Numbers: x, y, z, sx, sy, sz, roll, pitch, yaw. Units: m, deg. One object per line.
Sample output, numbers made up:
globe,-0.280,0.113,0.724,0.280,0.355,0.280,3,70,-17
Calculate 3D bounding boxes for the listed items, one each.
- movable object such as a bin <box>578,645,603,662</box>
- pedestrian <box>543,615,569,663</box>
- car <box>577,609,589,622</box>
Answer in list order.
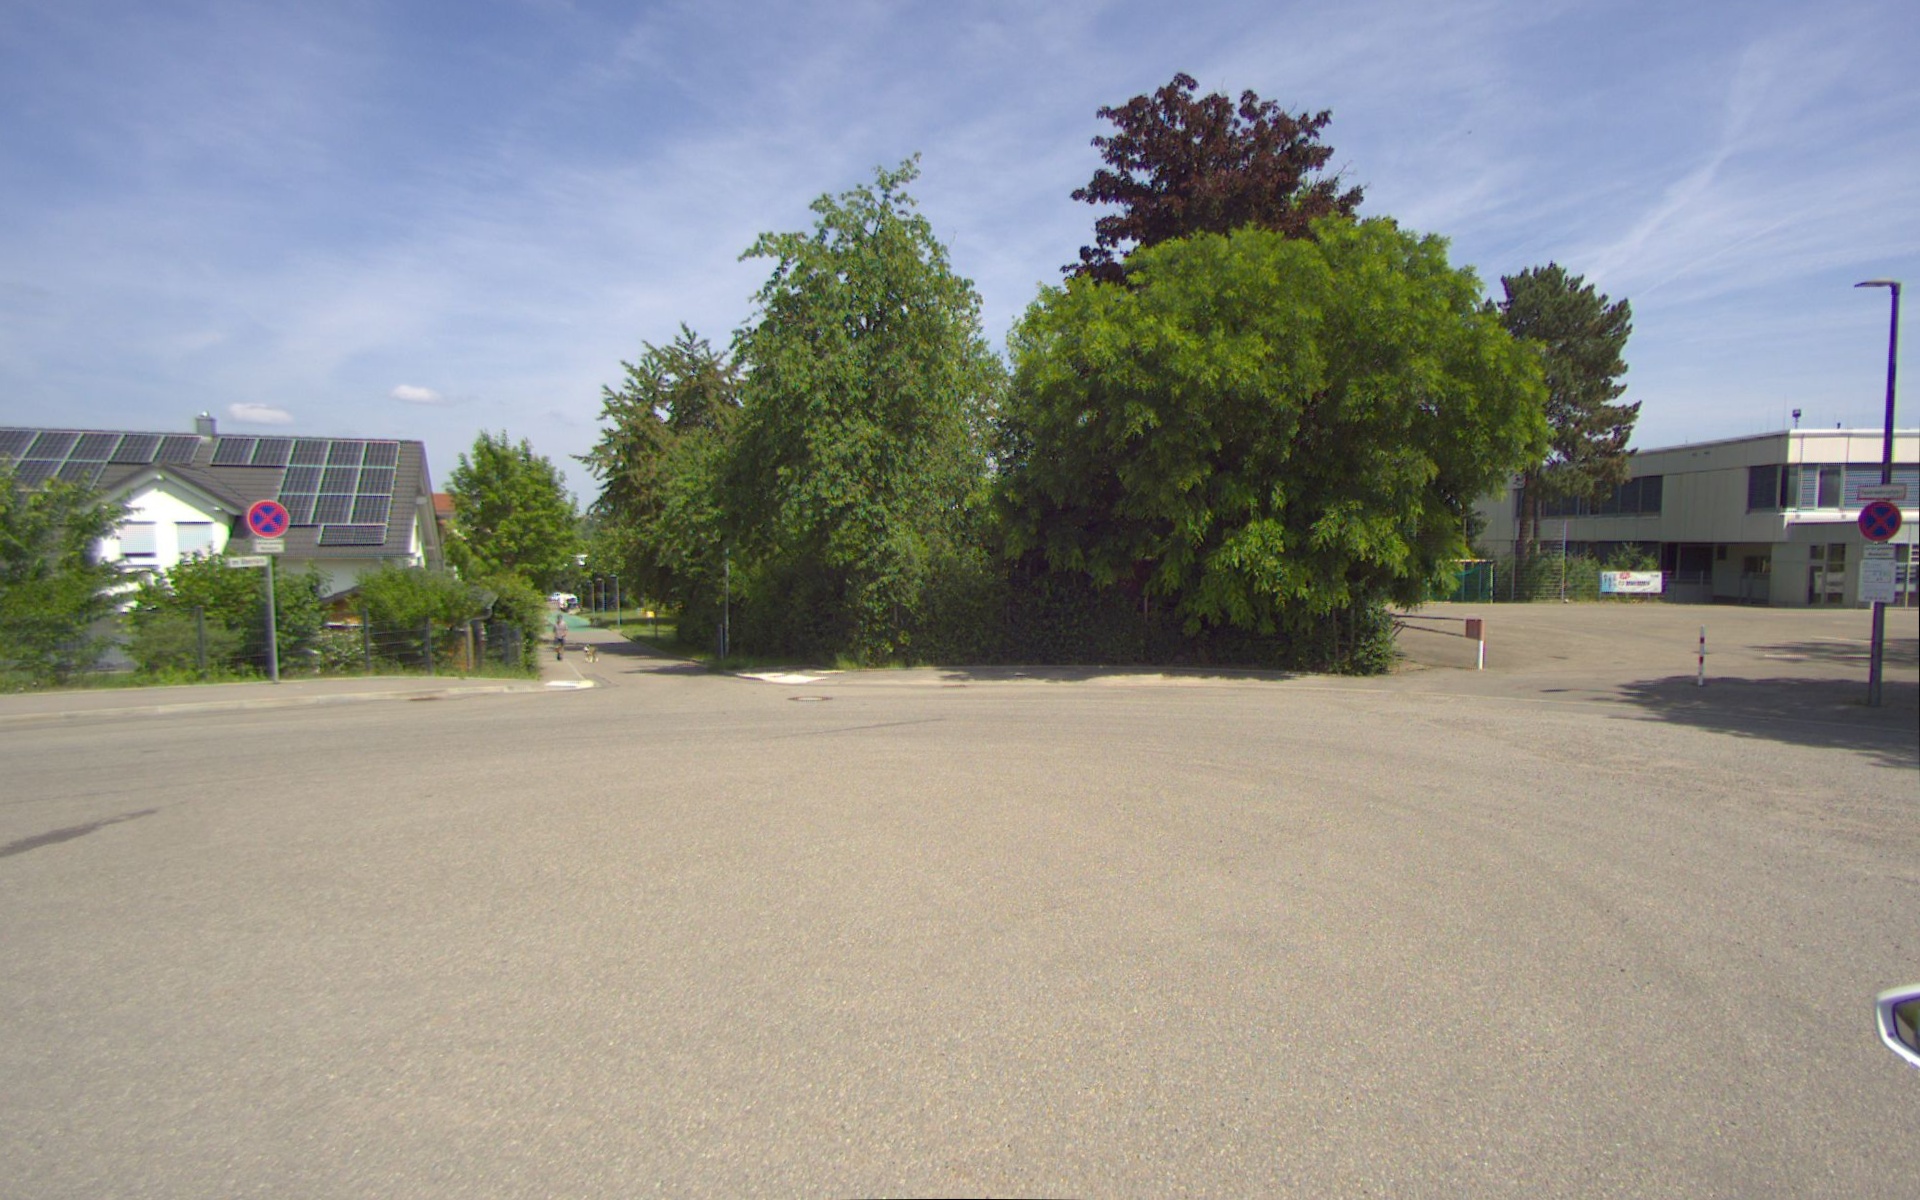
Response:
movable object such as a bin,-14.582,2.121,39.637,0.538,0.637,1.021,-1,-2,4
pedestrian,-16.017,1.540,39.805,0.838,1.843,0.829,-1,-3,-29
car,-59.692,2.507,159.051,1.713,2.040,3.978,0,-1,-23
